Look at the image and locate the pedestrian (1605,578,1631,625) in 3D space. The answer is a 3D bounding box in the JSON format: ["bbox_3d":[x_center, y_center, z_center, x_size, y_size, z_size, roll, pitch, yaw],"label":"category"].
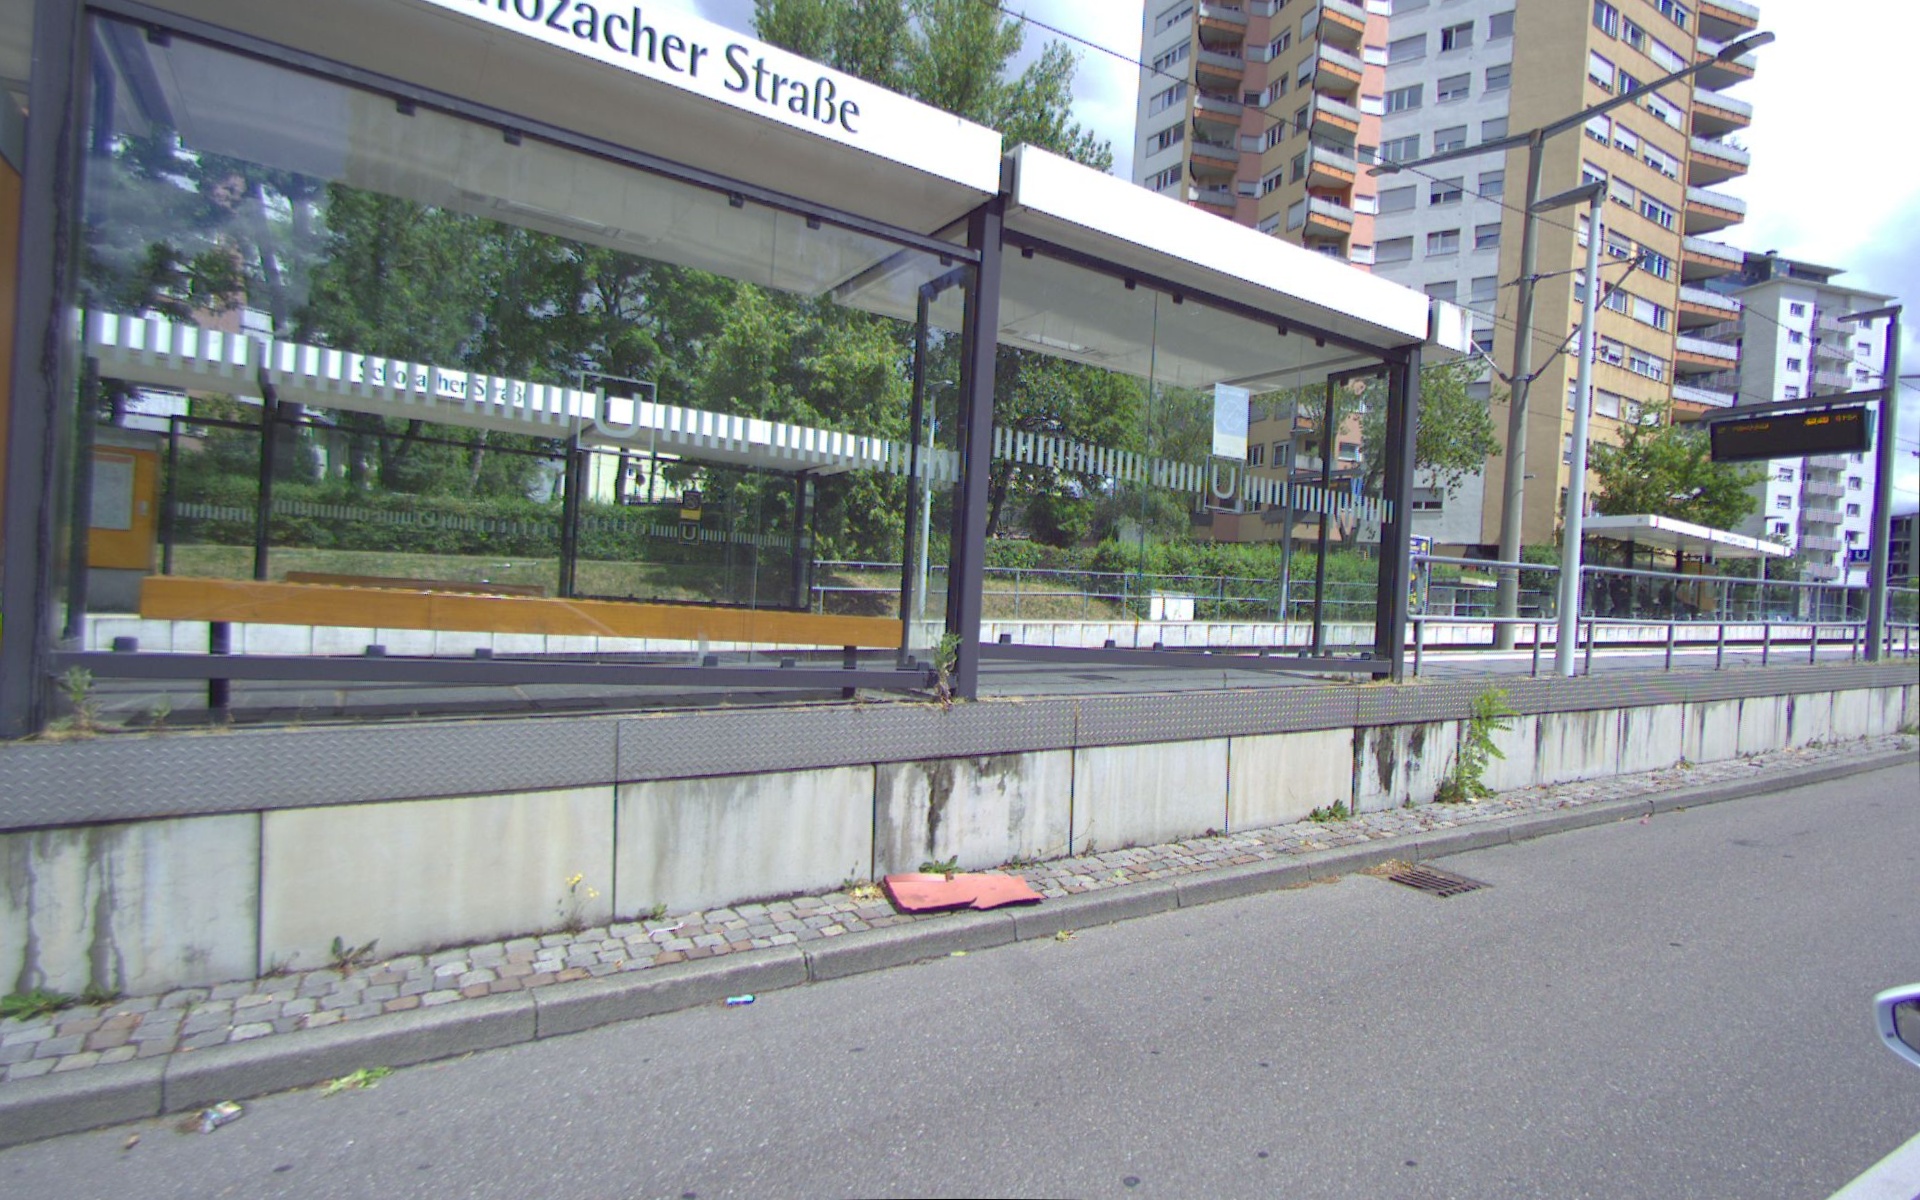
[{"bbox_3d":[19.998,0.039,30.524,0.517,1.397,0.536,5,-2,-42],"label":"pedestrian"}]

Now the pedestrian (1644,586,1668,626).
[{"bbox_3d":[22.130,0.178,31.933,0.540,1.253,0.514,1,0,-45],"label":"pedestrian"}]

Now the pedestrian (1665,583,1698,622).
[{"bbox_3d":[23.704,0.074,33.001,0.512,1.253,0.738,1,0,-33],"label":"pedestrian"}]

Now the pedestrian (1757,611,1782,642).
[{"bbox_3d":[45.961,1.502,57.012,0.679,1.719,0.856,1,0,-20],"label":"pedestrian"}]

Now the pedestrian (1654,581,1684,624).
[{"bbox_3d":[22.967,0.077,32.529,0.501,1.387,0.640,1,0,-33],"label":"pedestrian"}]

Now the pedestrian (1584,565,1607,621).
[{"bbox_3d":[19.144,-0.198,30.264,0.511,1.666,0.564,1,0,25],"label":"pedestrian"}]
